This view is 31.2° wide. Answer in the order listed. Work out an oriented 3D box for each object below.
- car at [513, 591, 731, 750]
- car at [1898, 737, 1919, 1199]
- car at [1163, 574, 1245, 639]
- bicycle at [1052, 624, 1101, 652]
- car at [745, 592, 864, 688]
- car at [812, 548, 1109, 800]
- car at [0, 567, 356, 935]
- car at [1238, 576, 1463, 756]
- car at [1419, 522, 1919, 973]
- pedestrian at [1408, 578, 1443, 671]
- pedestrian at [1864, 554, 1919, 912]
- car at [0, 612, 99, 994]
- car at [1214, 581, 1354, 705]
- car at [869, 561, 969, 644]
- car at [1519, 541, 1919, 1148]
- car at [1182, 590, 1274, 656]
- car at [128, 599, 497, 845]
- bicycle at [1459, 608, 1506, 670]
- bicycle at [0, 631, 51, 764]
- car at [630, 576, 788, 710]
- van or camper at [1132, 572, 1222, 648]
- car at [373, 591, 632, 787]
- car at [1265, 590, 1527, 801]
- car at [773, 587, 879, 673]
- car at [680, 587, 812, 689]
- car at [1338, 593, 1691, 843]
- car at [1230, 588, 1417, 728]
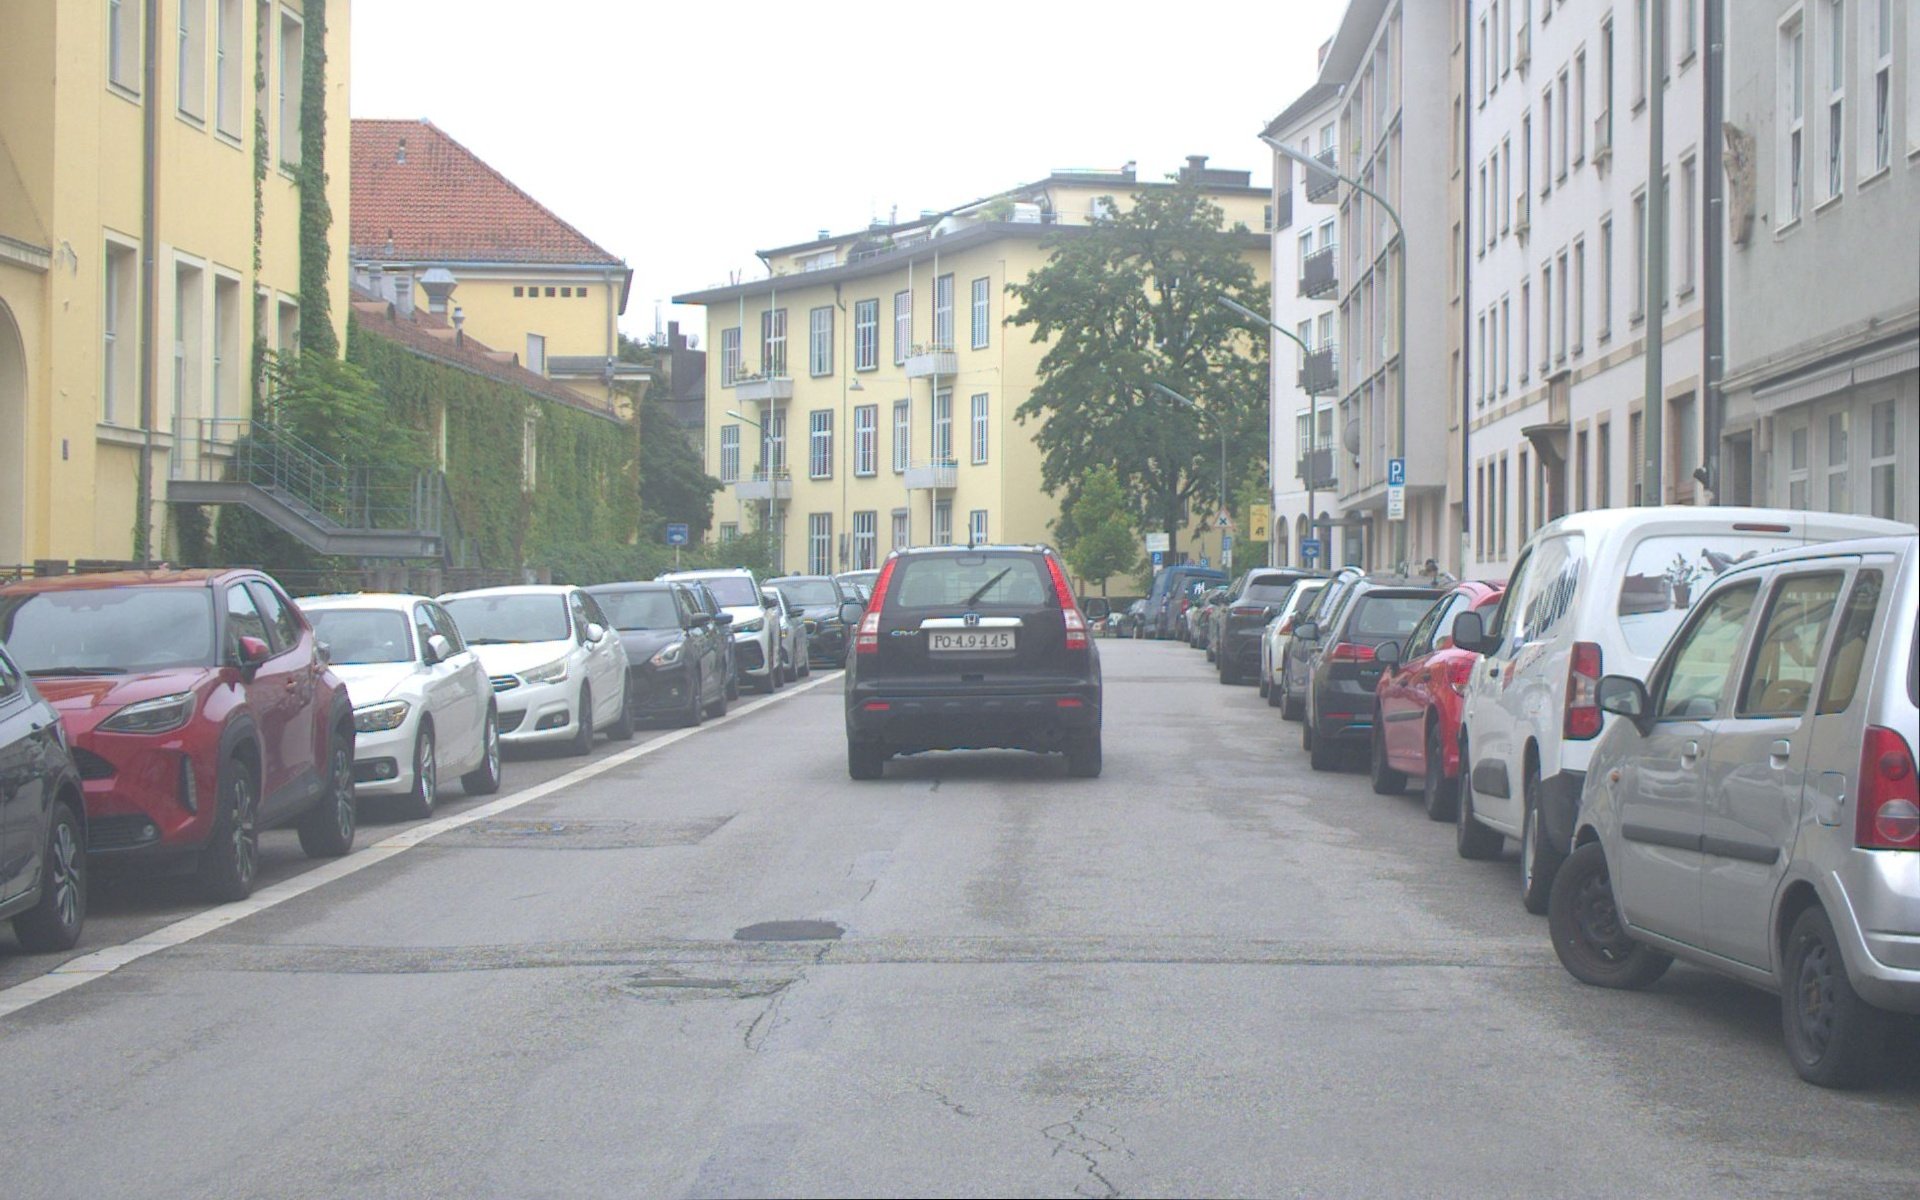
[{"bbox_3d":[-3.438,0.681,35.597,1.680,1.490,3.985,-2,0,2],"label":"car"},{"bbox_3d":[3.055,0.735,5.946,1.741,1.582,4.201,3,0,1],"label":"car"},{"bbox_3d":[7.032,0.169,99.507,1.964,1.810,4.936,-1,0,0],"label":"car"},{"bbox_3d":[4.841,1.586,143.055,2.216,1.113,0.608,0,-1,44],"label":"bicycle"},{"bbox_3d":[-2.604,0.643,58.373,1.782,1.533,4.195,1,0,0],"label":"car"},{"bbox_3d":[-0.011,0.483,25.520,1.995,1.688,4.380,1,0,0],"label":"car"},{"bbox_3d":[-4.156,0.665,16.898,1.674,1.561,3.997,-2,0,-1],"label":"car"},{"bbox_3d":[3.780,0.609,33.892,1.692,1.578,4.083,3,0,0],"label":"car"},{"bbox_3d":[3.399,0.597,16.583,1.841,1.780,4.894,3,0,3],"label":"car"},{"bbox_3d":[8.054,0.420,59.485,0.531,1.579,0.560,1,0,3],"label":"pedestrian"},{"bbox_3d":[4.790,0.620,16.241,0.861,1.656,0.647,1,0,2],"label":"pedestrian"},{"bbox_3d":[-4.383,0.784,12.307,1.674,1.400,3.991,-2,0,-2],"label":"car"},{"bbox_3d":[4.350,0.552,46.617,1.779,1.579,4.329,1,0,4],"label":"car"},{"bbox_3d":[-0.927,0.042,80.363,1.994,1.869,4.757,1,0,3],"label":"car"},{"bbox_3d":[3.060,0.699,11.187,1.603,1.636,3.632,3,0,-4],"label":"car"},{"bbox_3d":[6.035,0.508,77.835,1.796,1.416,4.482,1,0,1],"label":"car"},{"bbox_3d":[-4.133,0.725,22.511,1.674,1.393,3.997,-2,0,-1],"label":"car"},{"bbox_3d":[10.061,0.740,66.245,0.659,1.159,2.028,0,0,3],"label":"bicycle"},{"bbox_3d":[-8.229,0.807,28.409,0.586,1.074,1.716,3,0,15],"label":"bicycle"},{"bbox_3d":[-3.269,0.538,45.458,1.680,1.628,4.357,-2,0,0],"label":"car"},{"bbox_3d":[6.599,0.284,105.075,2.060,2.223,5.439,1,0,-4],"label":"van or camper"},{"bbox_3d":[-3.909,0.720,29.984,1.723,1.522,4.087,-2,0,-1],"label":"car"},{"bbox_3d":[3.341,0.695,26.962,1.692,1.446,4.082,3,0,3],"label":"car"},{"bbox_3d":[-2.478,0.532,64.345,1.782,1.533,4.149,1,0,0],"label":"car"},{"bbox_3d":[-3.142,0.536,51.040,1.680,1.421,3.895,1,0,0],"label":"car"},{"bbox_3d":[3.490,0.700,22.328,1.598,1.446,4.301,1,0,0],"label":"car"},{"bbox_3d":[4.185,0.636,40.075,1.692,1.459,4.083,3,0,0],"label":"car"}]
